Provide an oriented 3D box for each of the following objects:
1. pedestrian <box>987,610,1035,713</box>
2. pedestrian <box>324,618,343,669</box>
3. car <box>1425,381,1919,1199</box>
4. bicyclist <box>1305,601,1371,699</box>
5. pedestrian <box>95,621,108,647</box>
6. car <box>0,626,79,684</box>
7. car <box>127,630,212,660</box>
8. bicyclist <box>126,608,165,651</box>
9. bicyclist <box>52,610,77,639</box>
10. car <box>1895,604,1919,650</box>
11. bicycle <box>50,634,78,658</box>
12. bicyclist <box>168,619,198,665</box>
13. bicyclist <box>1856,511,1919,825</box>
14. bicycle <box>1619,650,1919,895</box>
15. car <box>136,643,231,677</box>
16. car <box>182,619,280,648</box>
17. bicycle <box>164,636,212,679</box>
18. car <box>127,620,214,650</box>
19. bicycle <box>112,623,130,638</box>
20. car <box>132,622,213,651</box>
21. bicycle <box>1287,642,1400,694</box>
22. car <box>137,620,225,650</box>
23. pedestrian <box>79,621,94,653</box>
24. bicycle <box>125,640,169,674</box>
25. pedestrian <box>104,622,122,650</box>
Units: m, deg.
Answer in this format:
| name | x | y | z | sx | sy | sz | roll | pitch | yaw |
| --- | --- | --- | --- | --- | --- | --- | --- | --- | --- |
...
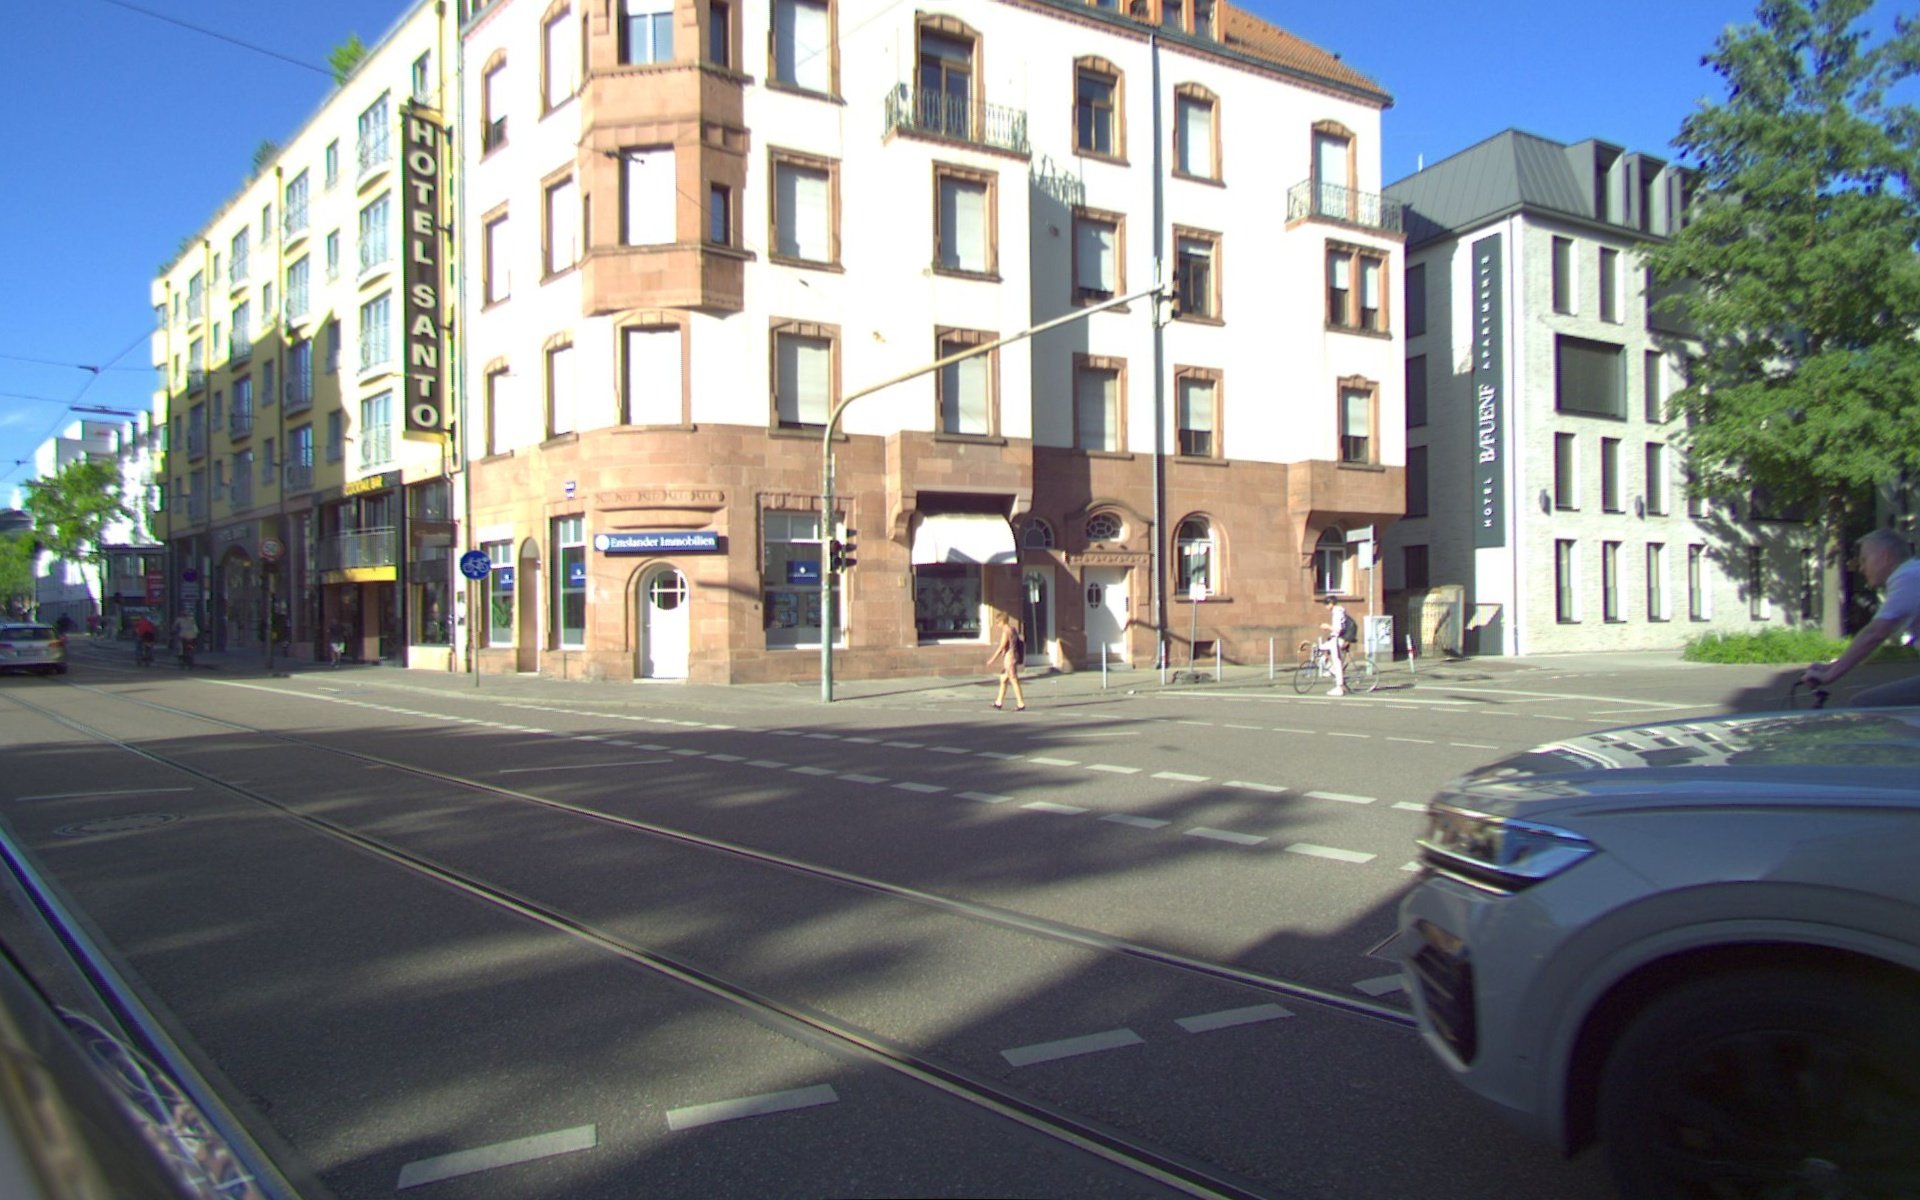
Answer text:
| name | x | y | z | sx | sy | sz | roll | pitch | yaw |
| --- | --- | --- | --- | --- | --- | --- | --- | --- | --- |
| pedestrian | 0.789 | 0.933 | 15.704 | 0.516 | 1.564 | 0.537 | -1 | -1 | 40 |
| pedestrian | -17.935 | 1.234 | 28.969 | 0.398 | 1.421 | 0.518 | 0 | -1 | -24 |
| car | 3.400 | 0.487 | 1.509 | 4.559 | 1.757 | 1.973 | -1 | -1 | 40 |
| bicyclist | 7.022 | 0.922 | 18.821 | 0.961 | 1.777 | 0.615 | -1 | -1 | 2 |
| pedestrian | -54.955 | 2.167 | 64.779 | 0.499 | 1.629 | 0.566 | -2 | -2 | 40 |
| car | -26.324 | 1.491 | 28.282 | 4.305 | 1.513 | 1.965 | -1 | -1 | 41 |
| car | -52.652 | 2.967 | 67.465 | 1.784 | 1.776 | 4.189 | -1 | 0 | 41 |
| bicyclist | -26.630 | 0.959 | 33.097 | 1.467 | 1.391 | 0.728 | -1 | -1 | 40 |
| bicyclist | -42.601 | 1.163 | 48.123 | 1.227 | 1.391 | 0.717 | -1 | -1 | 40 |
| car | 33.063 | 0.865 | 33.288 | 3.930 | 1.475 | 2.007 | 0 | -1 | -25 |
| bicycle | -42.568 | 2.170 | 48.073 | 2.060 | 1.096 | 0.723 | -1 | -1 | 40 |
| bicyclist | -23.822 | 1.265 | 31.026 | 0.678 | 1.386 | 0.584 | -1 | -1 | 40 |
| bicyclist | 4.923 | 0.321 | 4.938 | 0.778 | 1.494 | 0.675 | -1 | -1 | 40 |
| bicycle | 4.670 | 0.846 | 5.188 | 2.082 | 1.129 | 0.685 | -2 | -1 | 41 |
| car | -46.035 | 3.502 | 60.079 | 1.785 | 1.825 | 4.189 | 1 | 0 | 41 |
| car | -41.092 | 1.875 | 57.089 | 1.785 | 1.560 | 4.189 | 1 | 0 | 41 |
| bicycle | -23.680 | 1.742 | 31.035 | 2.060 | 1.192 | 0.723 | 0 | 1 | 40 |
| car | -50.746 | 2.215 | 65.109 | 1.784 | 1.826 | 4.189 | -2 | -1 | 41 |
| bicycle | -59.067 | 2.134 | 71.247 | 1.874 | 1.044 | 0.519 | -1 | -1 | 34 |
| car | -48.024 | 2.227 | 61.749 | 1.785 | 1.685 | 3.650 | -1 | -1 | 41 |
| bicycle | 7.122 | 1.265 | 18.878 | 1.790 | 0.916 | 0.791 | -1 | -1 | 3 |
| car | -49.055 | 2.176 | 63.792 | 1.785 | 1.826 | 4.188 | -2 | -1 | 42 |
| pedestrian | -55.639 | 2.352 | 64.463 | 0.708 | 1.961 | 0.631 | -2 | -1 | 40 |
| bicycle | -26.532 | 1.839 | 33.026 | 2.060 | 1.073 | 0.723 | -1 | -2 | 40 |
| pedestrian | -53.927 | 2.305 | 64.429 | 0.778 | 1.777 | 0.708 | -1 | -1 | 33 |
